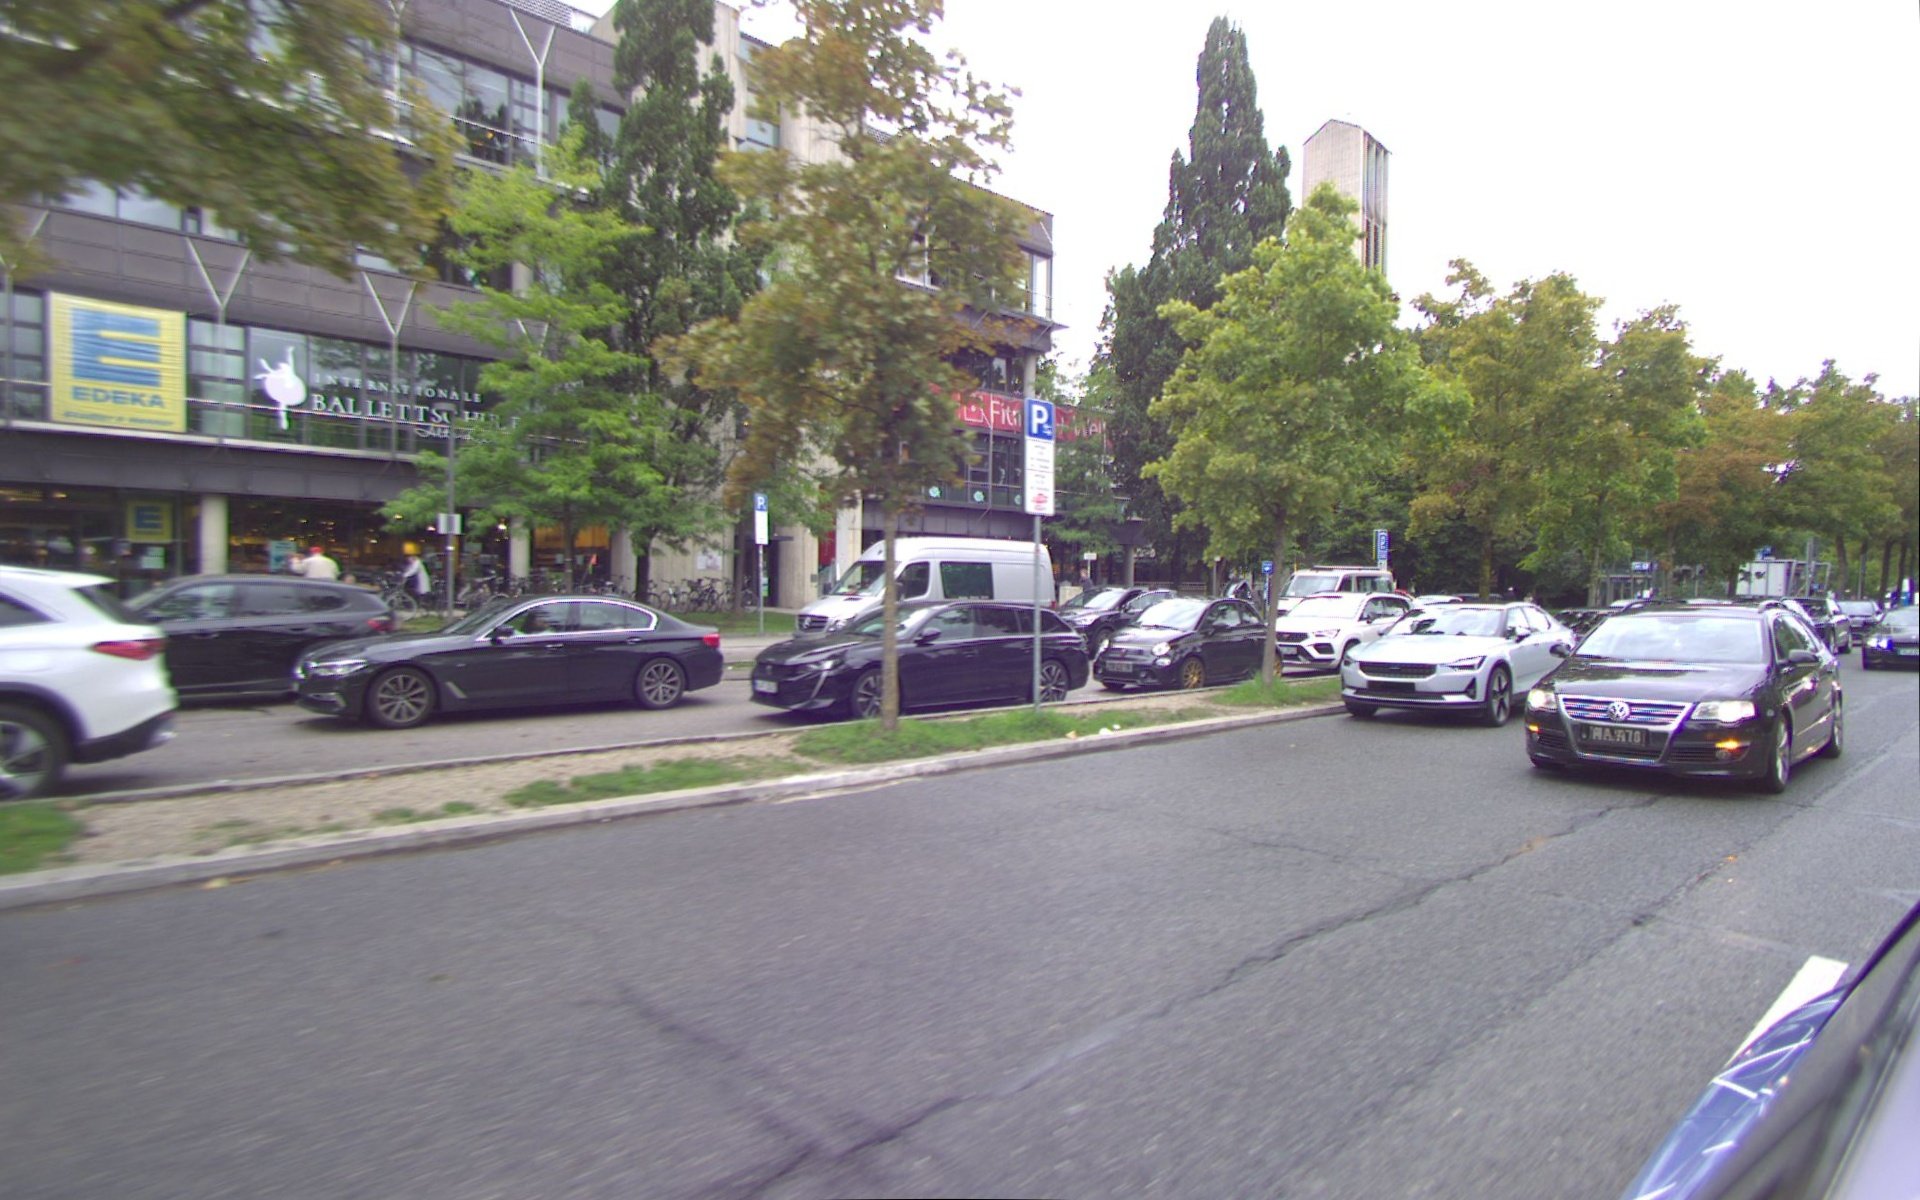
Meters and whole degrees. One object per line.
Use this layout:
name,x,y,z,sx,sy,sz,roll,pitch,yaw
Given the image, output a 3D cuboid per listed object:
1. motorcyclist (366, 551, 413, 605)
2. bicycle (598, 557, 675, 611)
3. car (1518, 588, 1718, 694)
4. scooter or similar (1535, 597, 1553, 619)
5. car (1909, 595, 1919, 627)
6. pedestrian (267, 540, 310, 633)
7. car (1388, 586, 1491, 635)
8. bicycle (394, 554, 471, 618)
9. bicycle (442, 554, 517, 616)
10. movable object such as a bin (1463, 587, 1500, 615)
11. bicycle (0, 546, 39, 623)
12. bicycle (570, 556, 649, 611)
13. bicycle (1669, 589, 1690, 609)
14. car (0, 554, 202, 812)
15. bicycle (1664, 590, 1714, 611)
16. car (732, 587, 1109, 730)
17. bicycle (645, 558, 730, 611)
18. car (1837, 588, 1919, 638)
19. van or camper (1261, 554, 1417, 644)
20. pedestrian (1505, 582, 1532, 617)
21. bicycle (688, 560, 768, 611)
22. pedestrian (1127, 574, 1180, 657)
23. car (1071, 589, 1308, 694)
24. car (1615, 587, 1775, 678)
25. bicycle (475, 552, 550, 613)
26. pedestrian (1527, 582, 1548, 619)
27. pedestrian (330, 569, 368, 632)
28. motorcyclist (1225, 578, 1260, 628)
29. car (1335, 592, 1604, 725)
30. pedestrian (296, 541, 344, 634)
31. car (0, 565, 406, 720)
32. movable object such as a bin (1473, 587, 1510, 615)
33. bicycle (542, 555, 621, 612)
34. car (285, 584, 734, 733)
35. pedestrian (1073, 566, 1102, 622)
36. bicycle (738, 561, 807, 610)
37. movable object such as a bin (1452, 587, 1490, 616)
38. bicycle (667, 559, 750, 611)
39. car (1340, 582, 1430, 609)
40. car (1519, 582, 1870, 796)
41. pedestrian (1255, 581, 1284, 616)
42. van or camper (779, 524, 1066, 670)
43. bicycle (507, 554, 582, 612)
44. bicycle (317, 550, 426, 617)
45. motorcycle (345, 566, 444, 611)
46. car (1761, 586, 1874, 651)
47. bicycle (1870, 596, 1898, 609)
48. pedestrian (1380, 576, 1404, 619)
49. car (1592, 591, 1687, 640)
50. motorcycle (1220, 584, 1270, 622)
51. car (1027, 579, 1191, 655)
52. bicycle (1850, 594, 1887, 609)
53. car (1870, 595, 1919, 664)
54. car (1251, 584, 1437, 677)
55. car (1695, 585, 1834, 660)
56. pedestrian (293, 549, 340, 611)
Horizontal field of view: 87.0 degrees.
motorcyclist,-16.123,-0.623,28.597,0.967,1.495,0.943,0,1,-41
bicycle,-9.514,-0.486,29.727,2.602,1.527,0.788,2,1,36
car,11.270,0.597,17.213,4.347,1.565,1.767,0,1,-41
scooter or similar,29.107,0.393,50.423,0.818,1.031,0.501,0,3,-41
car,46.614,0.520,48.203,4.406,1.452,1.656,0,1,-42
pedestrian,-13.635,-0.271,20.547,0.675,1.853,0.535,1,1,38
car,17.584,0.344,37.040,3.930,1.671,1.997,0,1,-41
bicycle,-13.183,-0.365,25.247,2.607,1.527,0.786,2,1,41
bicycle,-12.428,-0.415,26.137,2.607,1.527,0.786,2,1,41
movable object such as a bin,26.715,0.046,51.853,1.292,1.427,1.338,0,1,-42
bicycle,-19.788,-0.348,21.015,2.610,1.527,0.786,2,1,44
bicycle,-10.083,-0.492,29.047,2.602,1.527,0.788,2,1,36
bicycle,49.538,-0.080,69.661,2.506,1.296,0.605,0,1,-41
car,-7.671,0.515,6.243,4.697,1.653,1.687,0,1,-41
bicycle,47.643,0.042,66.146,0.636,1.296,2.547,0,1,-40
car,-0.345,0.599,12.701,4.649,1.472,1.688,0,1,-39
bicycle,-8.105,-0.471,30.042,2.594,1.527,0.790,2,1,29
car,32.080,0.423,35.292,4.376,1.609,1.764,0,1,-42
van or camper,11.996,-0.060,31.787,5.852,2.590,1.997,0,1,-41
pedestrian,28.017,-0.034,50.762,0.923,1.742,0.830,0,3,-41
bicycle,-7.294,-0.478,31.768,2.594,1.527,0.790,2,1,29
pedestrian,4.519,0.349,23.642,0.887,1.875,0.876,0,-1,-41
car,3.757,0.576,16.241,3.939,1.472,1.687,0,1,-41
car,15.221,0.594,20.872,4.347,1.672,1.767,0,1,-41
bicycle,-11.853,-0.479,26.750,2.607,1.527,0.786,2,1,41
pedestrian,28.443,0.022,49.814,0.970,1.742,0.540,0,3,-41
pedestrian,-13.044,0.000,21.599,0.556,1.330,0.543,1,1,38
motorcyclist,10.344,0.093,37.042,0.937,1.757,0.693,0,5,-41
car,6.854,0.653,13.389,4.435,1.472,1.708,0,-1,-43
pedestrian,-12.965,-0.260,20.503,0.556,1.853,0.672,1,1,38
car,-9.556,0.429,12.577,4.422,1.653,1.686,0,1,-43
movable object such as a bin,27.701,0.044,52.738,1.292,1.427,1.338,0,1,-42
bicycle,-10.583,-0.481,28.244,2.602,1.527,0.788,2,1,36
car,-5.306,0.571,12.380,4.754,1.472,1.687,0,1,-41
pedestrian,4.082,-0.208,32.350,0.728,1.773,0.569,1,1,40
bicycle,-6.109,-0.480,32.844,2.609,1.527,0.786,2,1,43
movable object such as a bin,25.733,0.049,50.961,1.292,1.427,1.338,0,1,-42
bicycle,-7.681,-0.473,30.882,2.594,1.527,0.790,2,1,29
car,19.239,-0.218,45.889,1.536,1.166,3.443,0,1,-44
car,6.879,0.605,9.260,4.592,1.493,1.749,0,1,-43
pedestrian,11.860,-0.068,38.791,0.685,1.306,0.735,0,4,-36
van or camper,-0.598,-0.087,20.584,5.852,2.590,2.028,0,1,-41
bicycle,-11.292,-0.480,27.466,2.607,1.527,0.786,2,1,41
bicycle,-14.006,-0.401,24.077,2.585,1.527,0.793,1,1,20
motorcycle,-16.010,-0.335,28.695,2.326,1.212,0.948,0,1,-41
car,24.891,0.478,29.330,4.735,1.722,1.765,0,1,-41
bicycle,86.034,0.204,94.253,0.556,1.156,1.813,0,3,-35
pedestrian,17.825,-0.102,41.757,0.718,1.773,0.577,0,1,-36
car,22.300,0.483,33.153,3.933,1.507,1.765,0,-1,-44
motorcycle,10.480,0.101,37.156,2.030,1.306,0.698,0,5,-41
car,3.622,0.356,24.243,3.939,1.684,1.751,0,1,-41
bicycle,80.913,0.104,90.177,0.520,1.171,2.344,1,3,-41
car,22.166,0.634,22.885,4.589,1.447,1.818,0,1,-41
car,7.490,0.524,19.590,3.939,1.605,1.687,0,1,-41
car,19.776,0.500,24.816,4.309,1.672,1.726,0,1,-38
pedestrian,-16.840,-0.516,26.501,0.954,1.599,0.690,0,1,-40
